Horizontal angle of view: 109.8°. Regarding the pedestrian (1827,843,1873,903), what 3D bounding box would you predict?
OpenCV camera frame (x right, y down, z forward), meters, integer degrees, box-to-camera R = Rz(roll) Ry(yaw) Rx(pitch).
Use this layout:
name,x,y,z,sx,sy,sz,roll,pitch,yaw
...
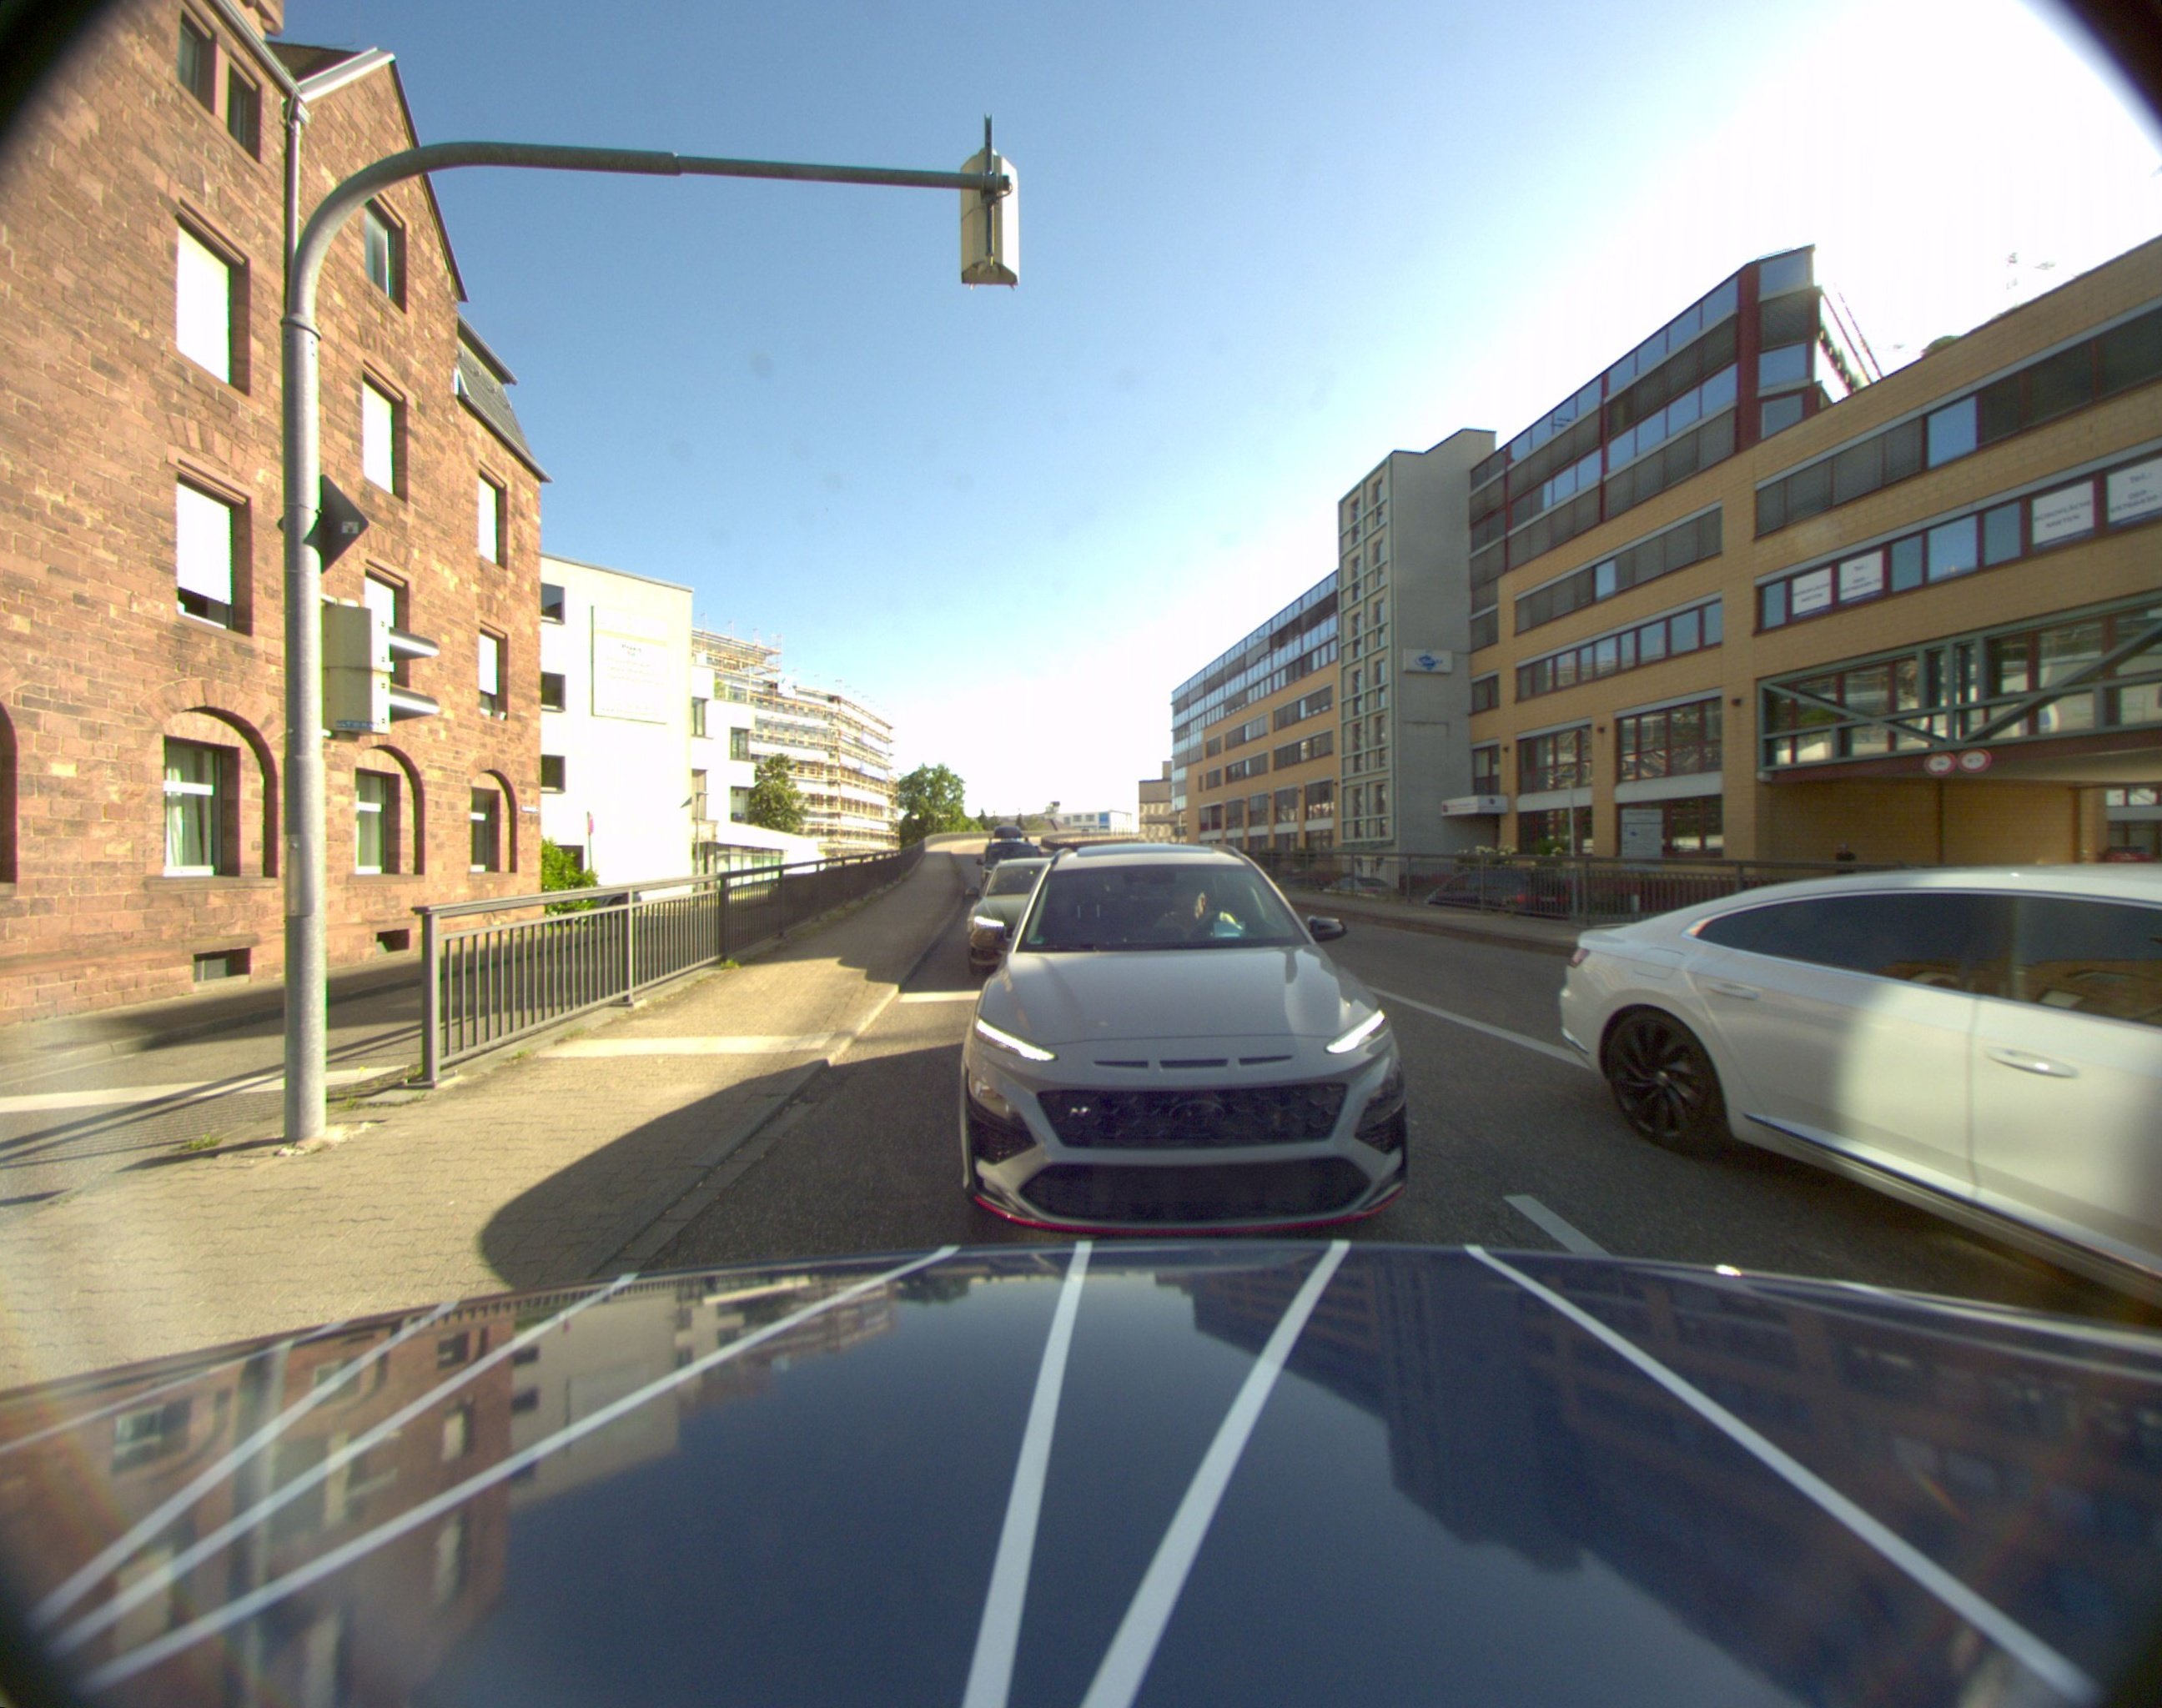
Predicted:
name,x,y,z,sx,sy,sz,roll,pitch,yaw
pedestrian,23.985,0.596,23.705,0.787,1.833,0.678,0,0,-12

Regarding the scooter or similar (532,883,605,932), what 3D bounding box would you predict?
name,x,y,z,sx,sy,sz,roll,pitch,yaw
scooter or similar,-14.265,1.479,21.192,1.463,1.212,0.784,-3,1,-14

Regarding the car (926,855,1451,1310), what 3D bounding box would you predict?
name,x,y,z,sx,sy,sz,roll,pitch,yaw
car,0.424,0.827,4.826,1.849,1.561,4.220,-1,1,1

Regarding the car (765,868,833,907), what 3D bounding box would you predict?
name,x,y,z,sx,sy,sz,roll,pitch,yaw
car,-13.036,1.501,35.415,1.850,1.422,4.678,-1,2,-6

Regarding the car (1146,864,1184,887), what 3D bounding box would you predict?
name,x,y,z,sx,sy,sz,roll,pitch,yaw
car,6.389,1.610,57.956,2.000,1.652,3.997,0,0,-7

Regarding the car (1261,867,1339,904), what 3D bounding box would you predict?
name,x,y,z,sx,sy,sz,roll,pitch,yaw
car,10.234,1.425,35.869,1.826,1.594,4.353,0,0,-10

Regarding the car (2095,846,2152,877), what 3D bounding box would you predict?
name,x,y,z,sx,sy,sz,roll,pitch,yaw
car,53.707,0.394,39.197,3.159,1.564,1.639,0,-1,-38

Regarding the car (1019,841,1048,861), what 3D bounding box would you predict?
name,x,y,z,sx,sy,sz,roll,pitch,yaw
car,-3.653,-0.225,57.977,1.692,1.448,3.910,-1,0,-10

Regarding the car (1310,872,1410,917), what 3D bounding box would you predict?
name,x,y,z,sx,sy,sz,roll,pitch,yaw
car,11.093,1.568,30.588,1.826,1.594,4.353,0,0,-10

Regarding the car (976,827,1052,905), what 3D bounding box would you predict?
name,x,y,z,sx,sy,sz,roll,pitch,yaw
car,-2.214,0.306,23.855,1.911,2.201,4.593,0,1,-11

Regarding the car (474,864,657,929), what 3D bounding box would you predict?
name,x,y,z,sx,sy,sz,roll,pitch,yaw
car,-16.971,1.309,25.207,1.823,1.757,4.658,1,2,42

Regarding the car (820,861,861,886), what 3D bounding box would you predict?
name,x,y,z,sx,sy,sz,roll,pitch,yaw
car,-15.518,1.248,49.163,1.850,1.526,3.997,0,0,-7

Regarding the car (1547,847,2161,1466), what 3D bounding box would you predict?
name,x,y,z,sx,sy,sz,roll,pitch,yaw
car,3.695,0.796,2.151,1.849,1.527,4.505,-1,2,-3

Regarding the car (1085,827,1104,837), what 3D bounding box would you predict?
name,x,y,z,sx,sy,sz,roll,pitch,yaw
car,2.745,-4.402,151.971,1.995,1.924,4.860,0,0,24

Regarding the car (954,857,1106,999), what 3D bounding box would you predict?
name,x,y,z,sx,sy,sz,roll,pitch,yaw
car,-0.603,0.868,10.861,1.721,1.483,4.167,-1,2,-1

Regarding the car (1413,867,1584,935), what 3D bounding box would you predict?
name,x,y,z,sx,sy,sz,roll,pitch,yaw
car,12.413,1.309,23.006,1.957,1.747,4.683,-1,0,-11

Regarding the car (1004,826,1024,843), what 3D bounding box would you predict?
name,x,y,z,sx,sy,sz,roll,pitch,yaw
car,-6.883,-1.949,77.603,1.839,1.644,4.624,-3,1,-7
